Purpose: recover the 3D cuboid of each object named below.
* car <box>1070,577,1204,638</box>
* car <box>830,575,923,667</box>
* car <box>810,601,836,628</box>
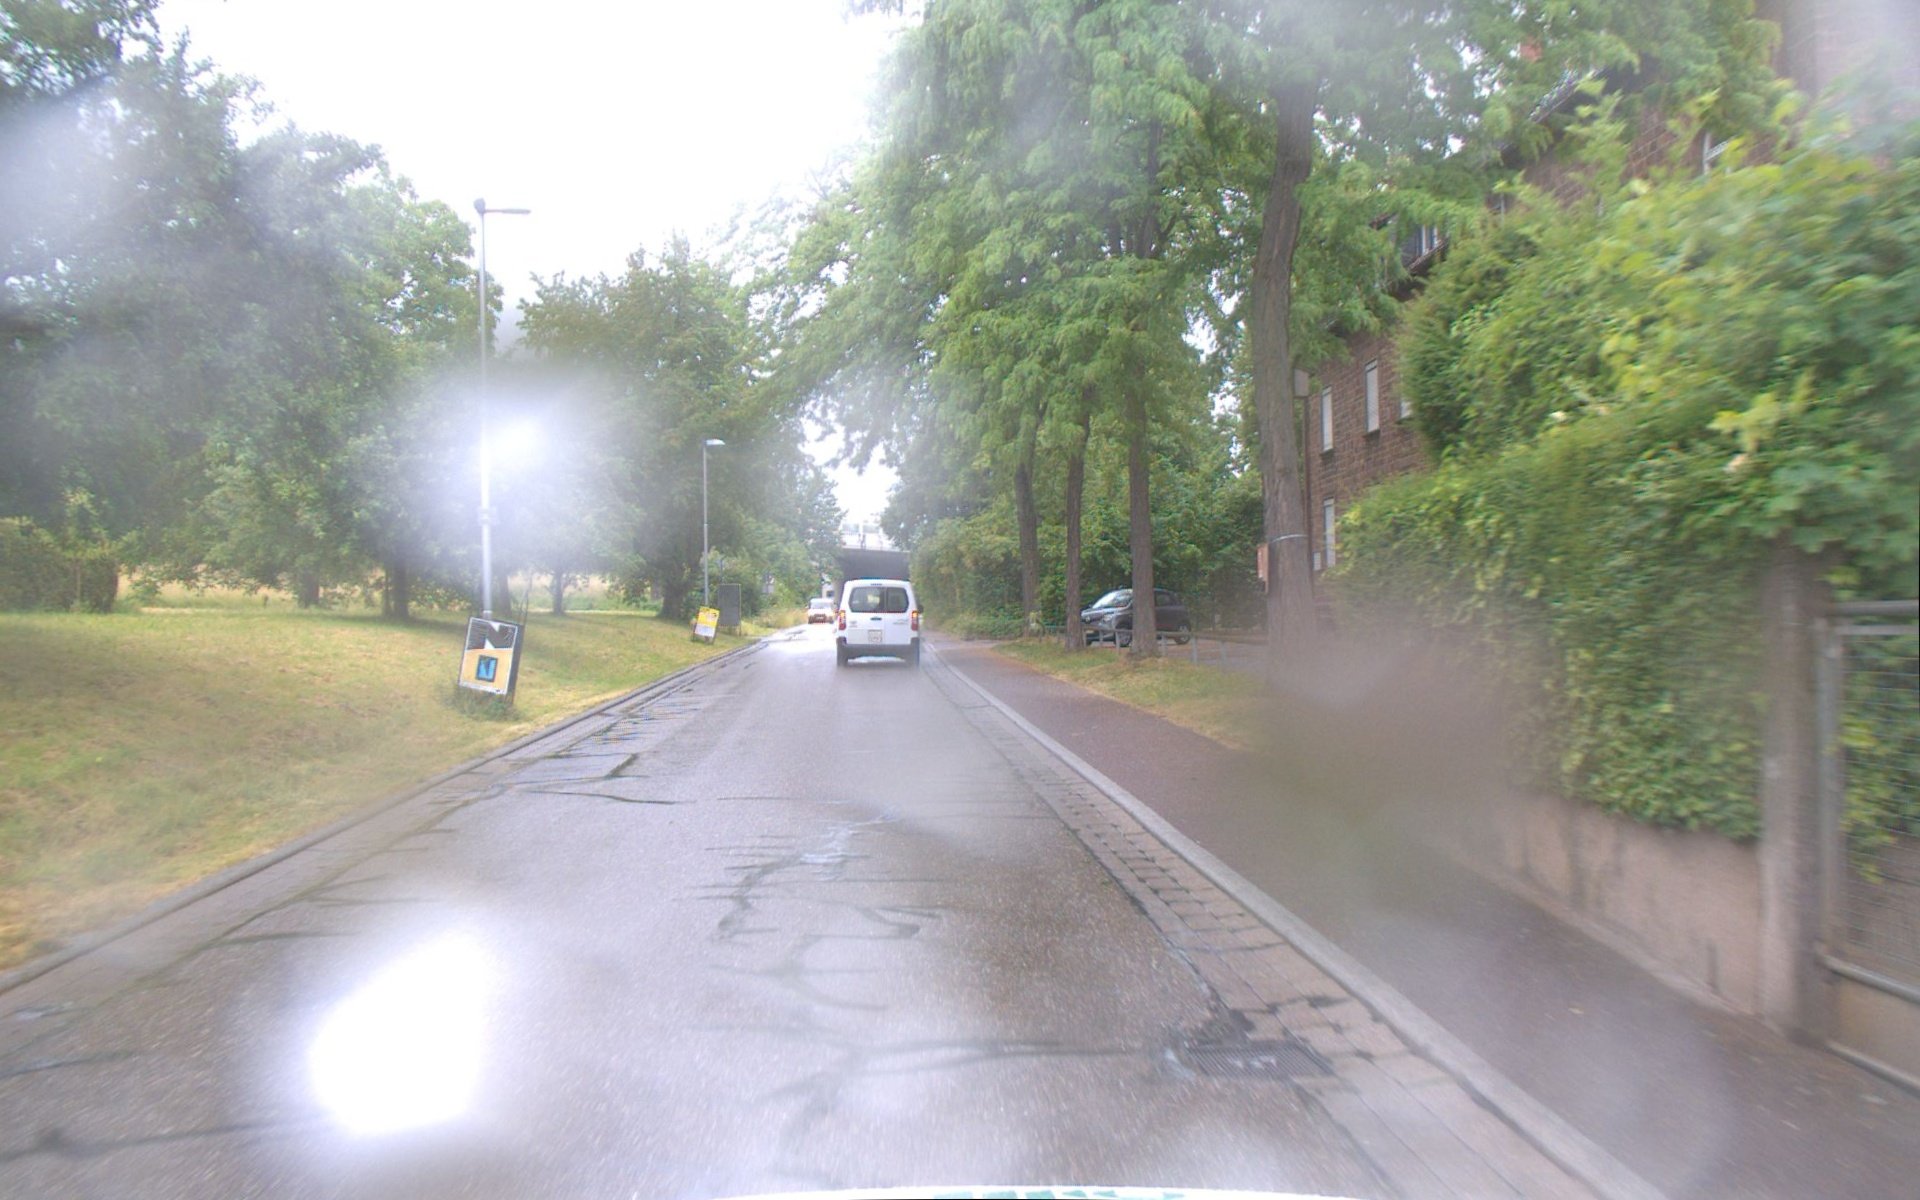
[{"bbox_3d":[4.844,0.197,45.103,3.579,1.578,1.598,-1,-1,-40],"label":"car"},{"bbox_3d":[-1.805,0.419,36.115,1.859,1.838,3.998,-2,0,-3],"label":"car"},{"bbox_3d":[-9.805,1.013,118.301,1.788,1.864,4.303,0,-1,-5],"label":"car"}]
